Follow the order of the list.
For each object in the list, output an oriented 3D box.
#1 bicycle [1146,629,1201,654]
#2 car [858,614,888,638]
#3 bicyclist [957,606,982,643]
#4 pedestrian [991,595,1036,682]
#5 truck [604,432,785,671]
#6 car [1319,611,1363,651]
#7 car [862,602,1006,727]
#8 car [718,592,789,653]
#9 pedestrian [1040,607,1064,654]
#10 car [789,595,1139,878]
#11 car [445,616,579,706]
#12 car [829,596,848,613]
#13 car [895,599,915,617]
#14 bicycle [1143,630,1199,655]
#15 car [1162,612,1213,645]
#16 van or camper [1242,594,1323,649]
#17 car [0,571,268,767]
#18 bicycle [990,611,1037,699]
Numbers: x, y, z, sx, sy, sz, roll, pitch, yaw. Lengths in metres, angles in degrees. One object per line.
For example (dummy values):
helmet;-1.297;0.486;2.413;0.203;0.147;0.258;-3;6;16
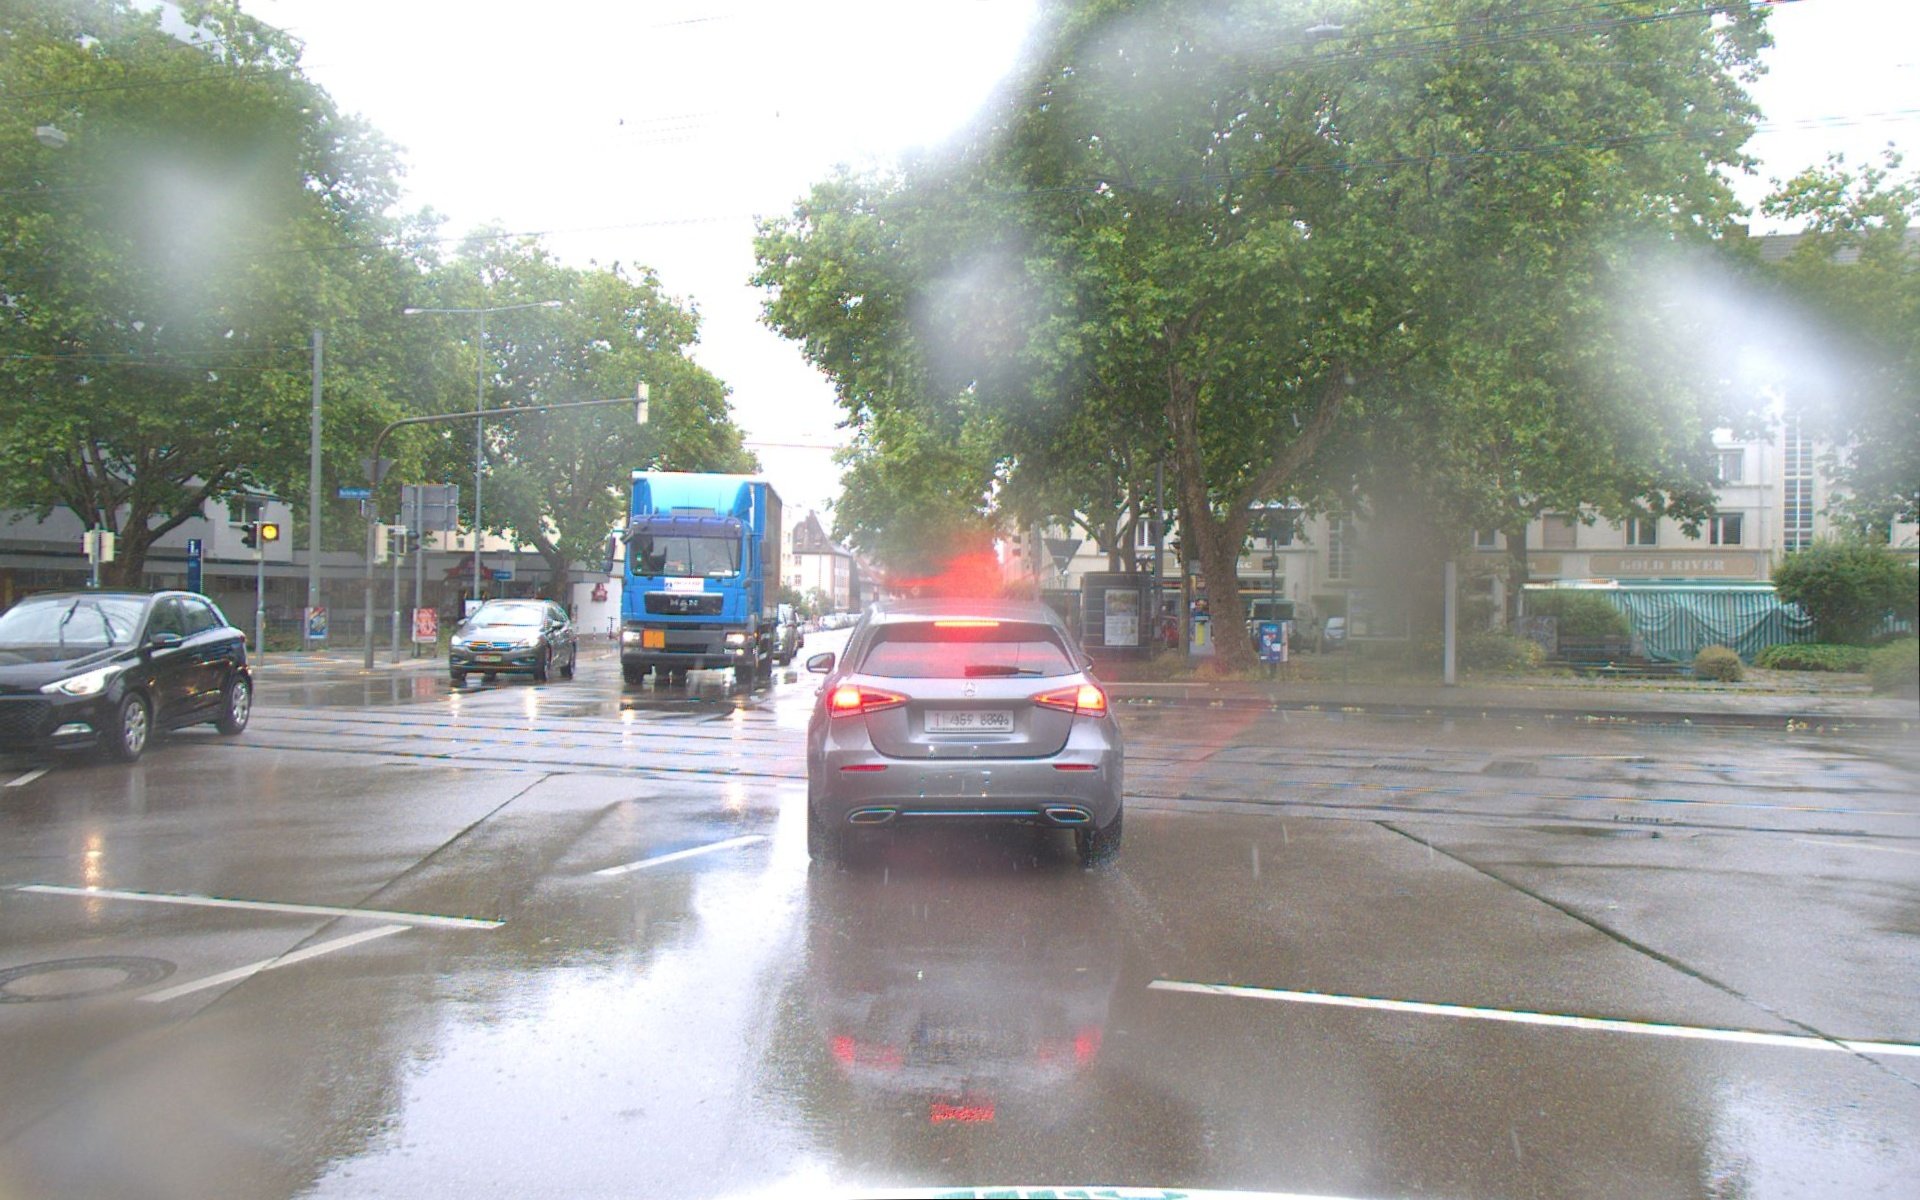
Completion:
bicycle;8.775;1.705;68.030;2.200;0.985;0.585;0;-1;19
car;-5.961;1.747;113.002;1.955;1.601;3.995;0;-1;-5
bicyclist;0.490;1.281;86.789;0.925;1.901;1.135;1;-2;-22
pedestrian;0.904;0.638;27.708;0.728;1.422;1.047;0;-1;3
truck;-5.113;-0.793;33.605;2.790;4.096;10.306;0;0;-4
car;16.192;1.328;70.199;1.644;1.603;3.738;0;-1;16
car;-0.405;0.733;20.529;1.575;1.396;3.996;0;0;-4
car;-5.745;0.616;46.334;1.708;1.632;3.997;0;-1;-4
pedestrian;3.394;1.124;61.132;0.704;1.698;0.663;1;-1;-12
car;-0.093;0.714;10.198;1.756;1.396;3.504;2;-1;-4
car;-8.444;1.093;31.500;1.692;1.573;4.336;0;0;-5
car;-13.844;0.553;188.378;1.851;1.868;3.999;0;-1;0
car;-6.044;0.915;181.200;2.005;1.868;4.791;0;-1;0
bicycle;8.589;1.744;67.406;2.205;0.985;0.534;0;-1;19
car;9.991;1.260;72.506;1.549;1.360;3.262;0;-3;20
van or camper;13.984;0.950;71.456;2.348;2.270;5.427;0;-1;23
car;-7.693;0.568;15.166;1.712;1.573;3.769;0;0;-11
bicycle;0.916;0.895;27.860;0.733;1.401;2.708;0;0;3
